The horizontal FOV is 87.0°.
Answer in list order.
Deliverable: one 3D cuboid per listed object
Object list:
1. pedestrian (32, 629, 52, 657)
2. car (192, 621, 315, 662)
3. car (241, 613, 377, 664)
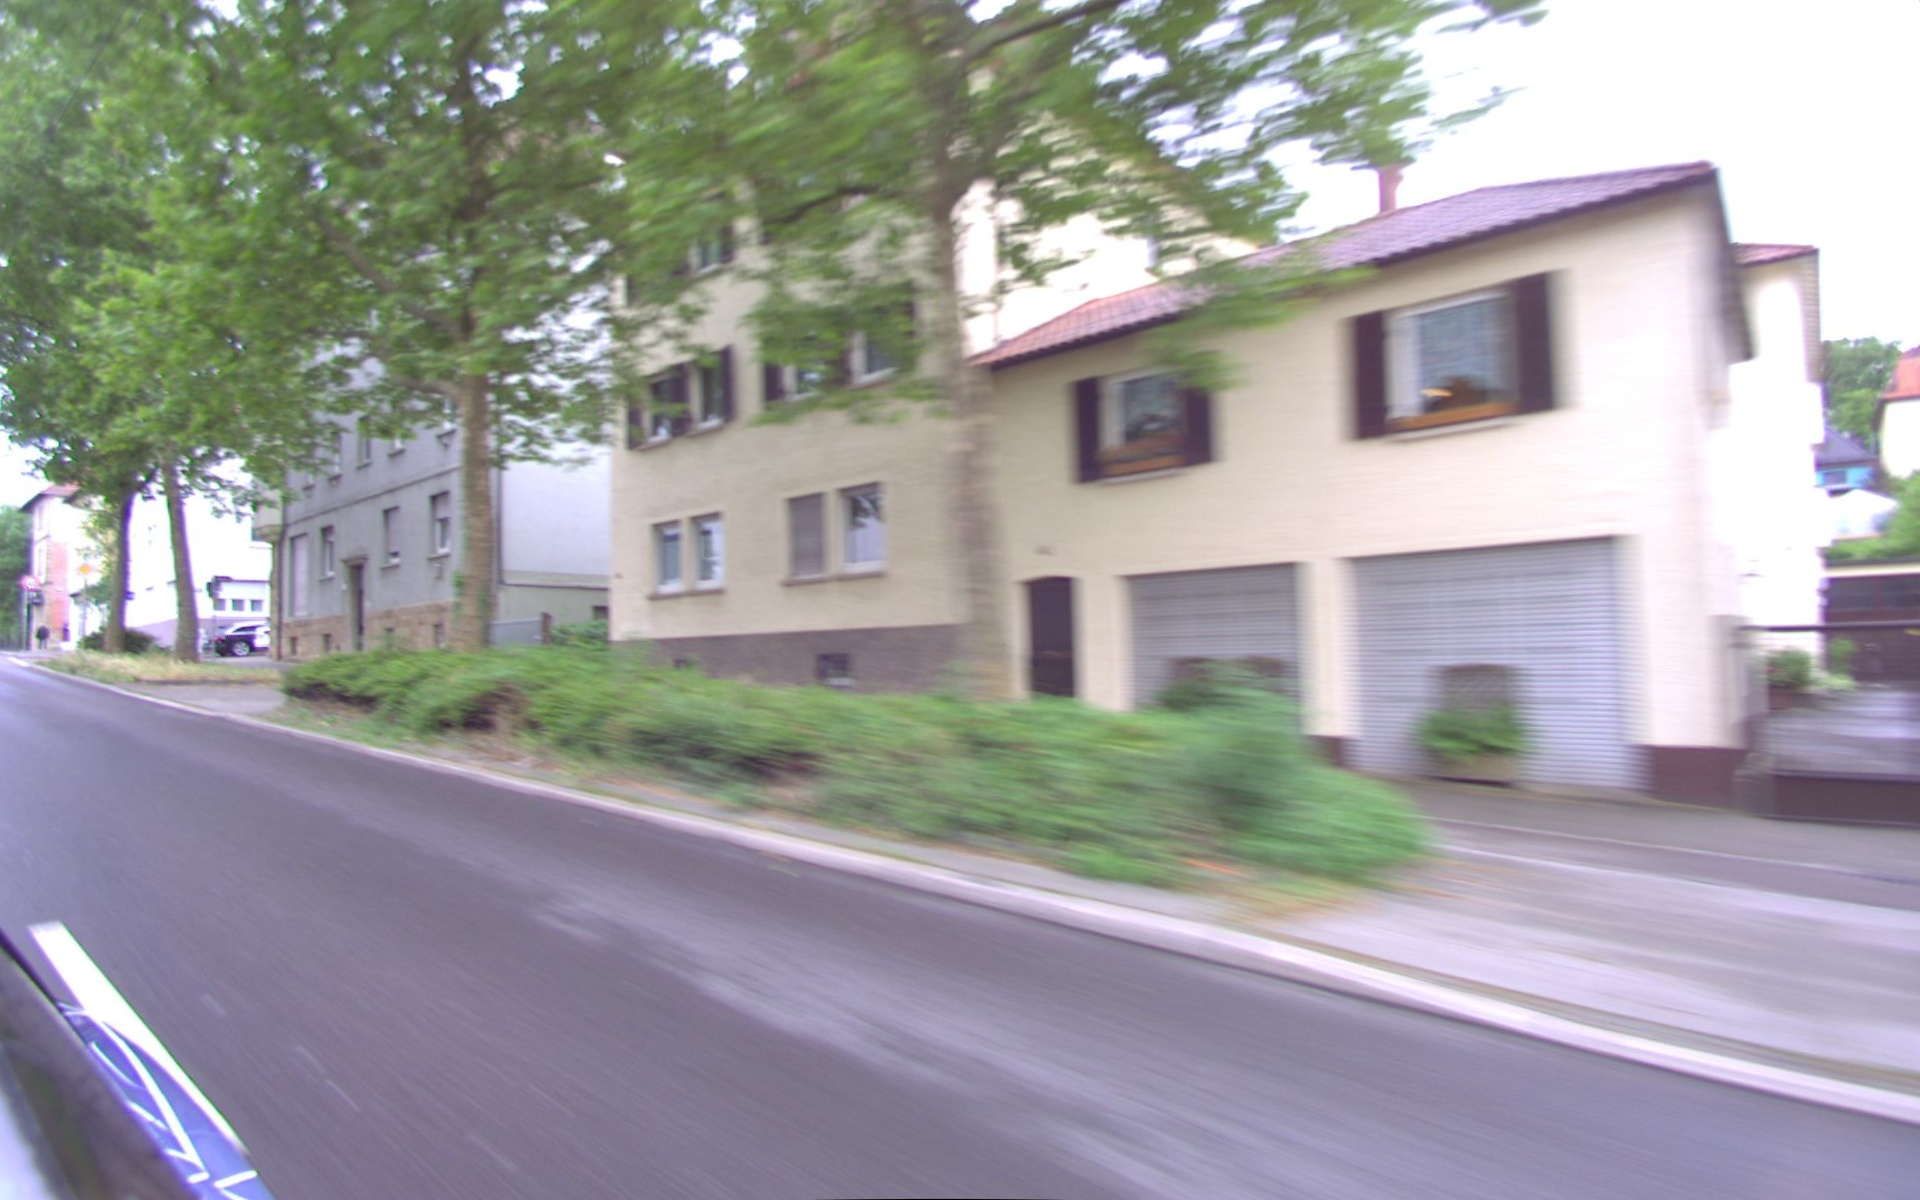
[{"bbox_3d":[-56.918,2.651,62.745,0.992,1.692,0.807,-2,-2,39],"label":"pedestrian"},{"bbox_3d":[-30.401,1.753,43.612,1.999,1.464,3.947,-3,0,40],"label":"car"},{"bbox_3d":[-25.958,1.514,40.465,1.999,1.716,4.139,-3,0,41],"label":"car"}]
